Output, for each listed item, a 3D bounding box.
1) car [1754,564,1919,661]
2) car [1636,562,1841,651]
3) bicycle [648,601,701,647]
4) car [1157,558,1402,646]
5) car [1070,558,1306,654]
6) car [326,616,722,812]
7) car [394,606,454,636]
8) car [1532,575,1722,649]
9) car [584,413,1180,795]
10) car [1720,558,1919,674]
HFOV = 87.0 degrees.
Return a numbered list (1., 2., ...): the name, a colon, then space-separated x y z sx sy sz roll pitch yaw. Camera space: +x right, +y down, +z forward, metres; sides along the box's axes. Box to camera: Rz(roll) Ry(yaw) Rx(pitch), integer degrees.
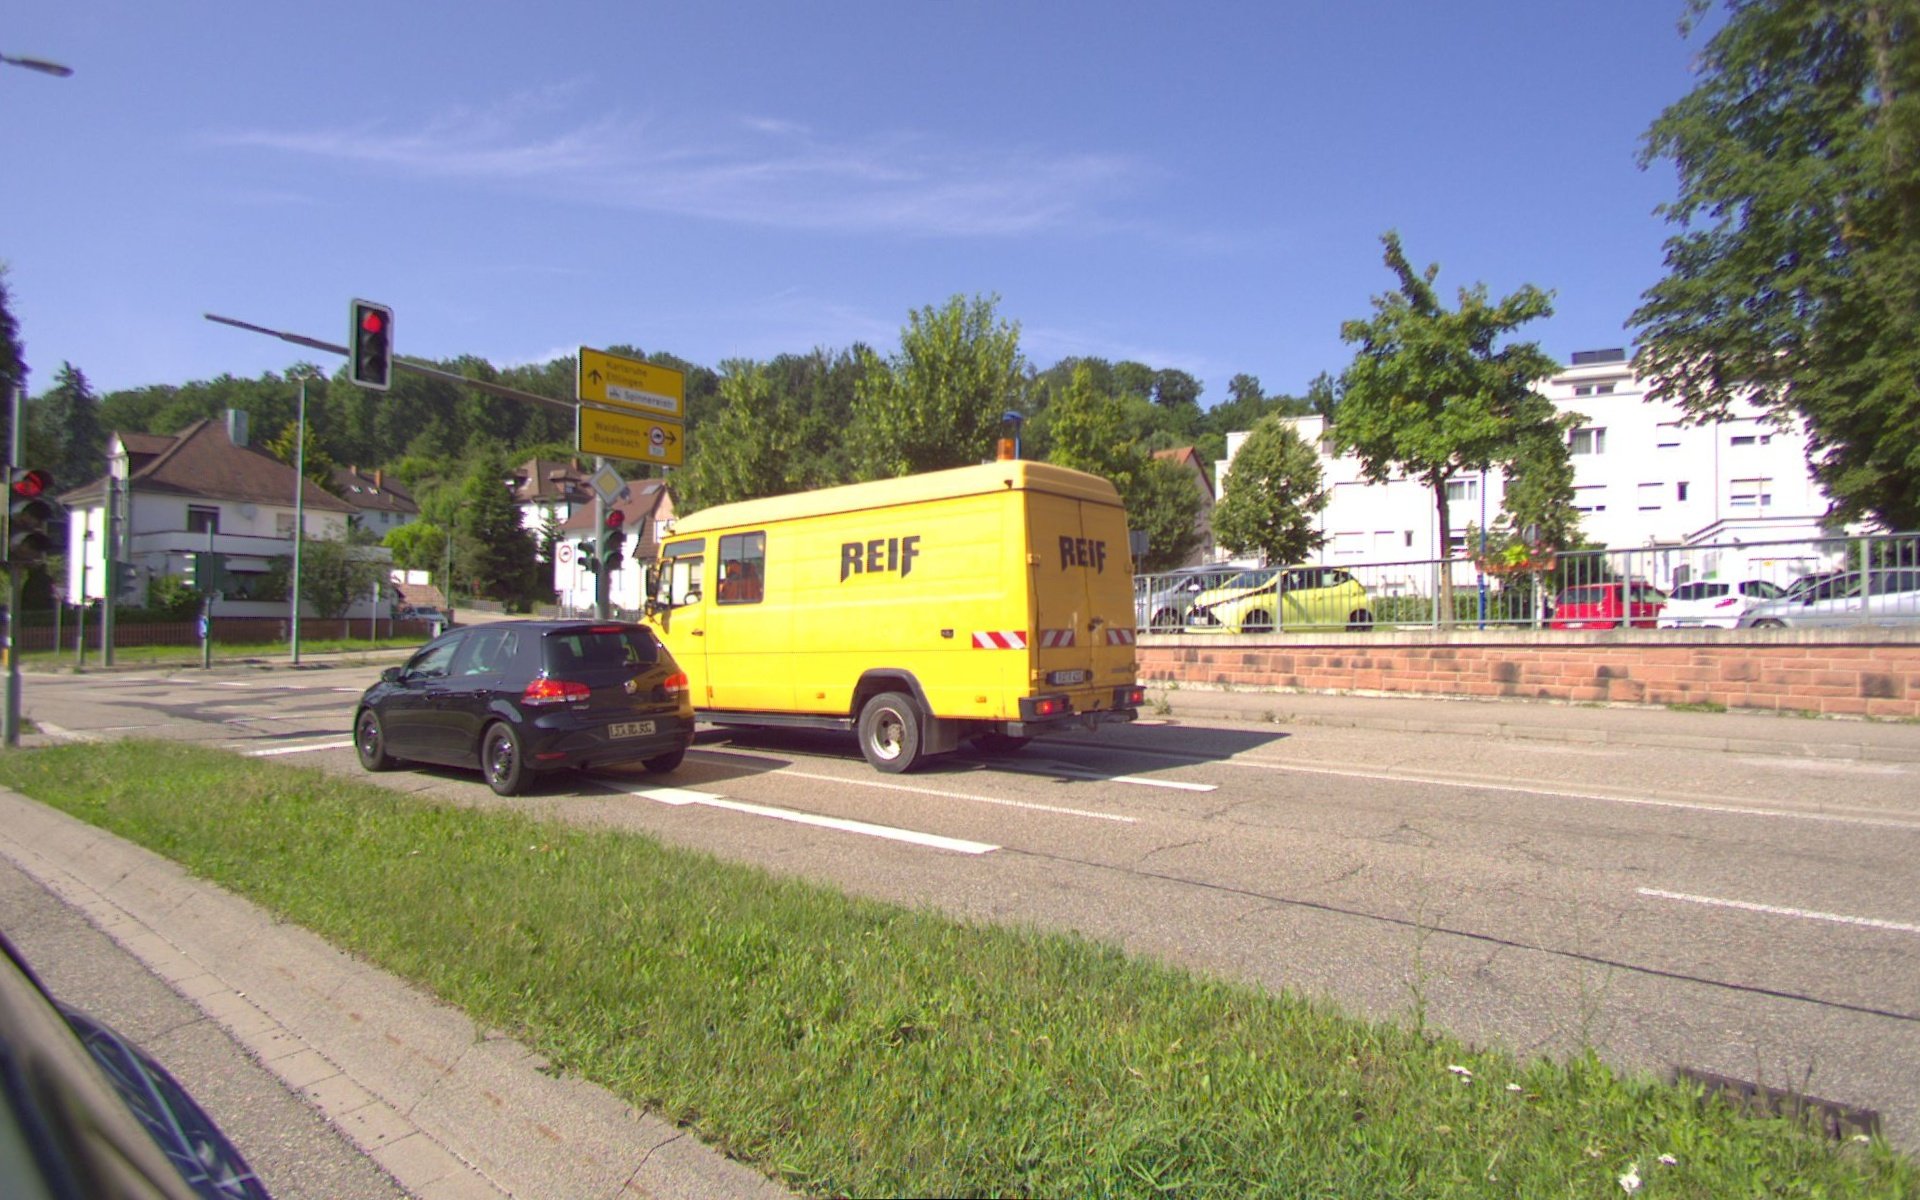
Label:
1. car: 17.933 0.189 19.712 3.931 1.684 2.006 -3 0 -19
2. car: 17.384 0.134 22.619 3.931 1.713 1.920 -3 -1 -24
3. bicycle: -8.683 0.742 30.712 1.756 1.264 0.612 -5 1 43
4. car: 5.907 0.031 18.789 3.931 1.392 1.920 -3 0 -21
5. car: 4.759 0.087 21.240 4.339 1.709 2.064 -3 1 -21
6. car: -4.223 0.910 9.557 4.038 1.474 1.729 -2 -2 38
7. car: -32.327 1.268 60.992 3.999 1.649 1.913 -3 -1 42
8. car: 16.361 0.288 24.856 3.931 1.571 1.920 -3 0 -21
9. car: -1.145 0.070 10.990 6.456 3.033 2.444 -1 0 38
10. car: 15.452 0.257 16.878 1.888 1.803 4.013 0 -1 -21
